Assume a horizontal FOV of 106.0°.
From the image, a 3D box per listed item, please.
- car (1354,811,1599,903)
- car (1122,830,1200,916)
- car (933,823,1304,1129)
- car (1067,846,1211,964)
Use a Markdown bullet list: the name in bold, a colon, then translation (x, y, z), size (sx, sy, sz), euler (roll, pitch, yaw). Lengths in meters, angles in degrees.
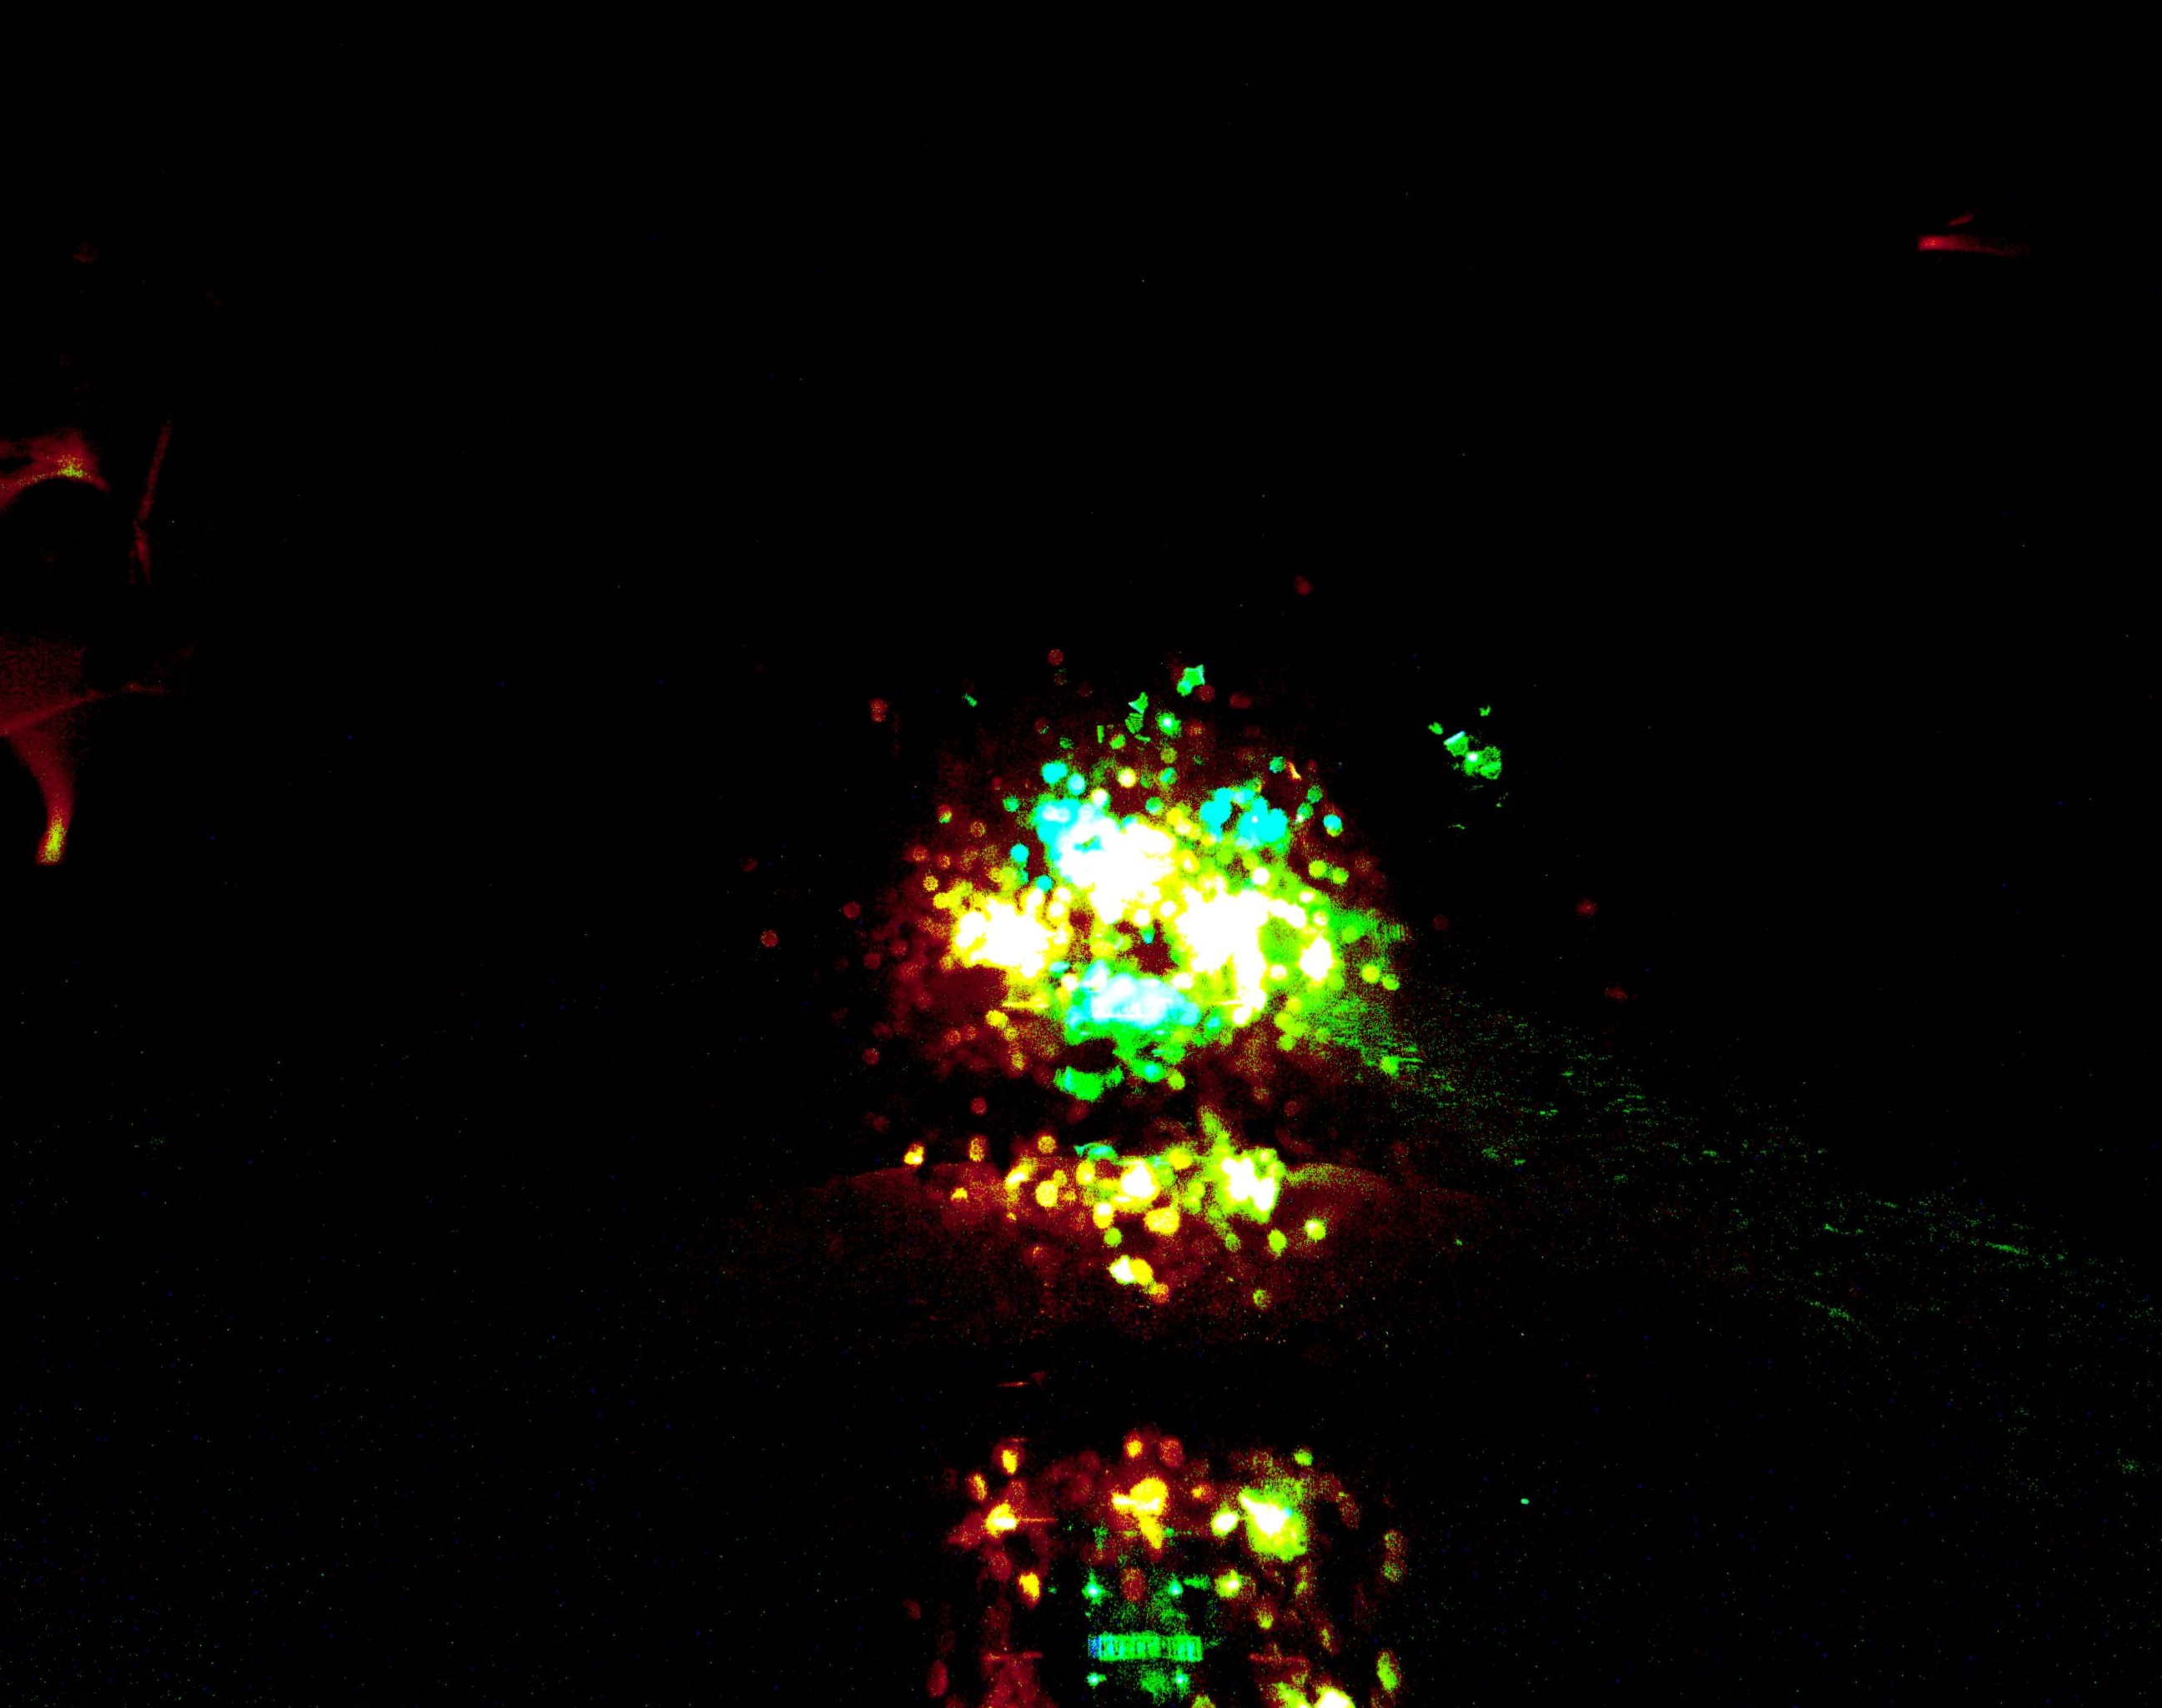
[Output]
- **car**: translation (8.455, 0.073, 17.865), size (4.437, 1.586, 1.946), euler (-4, 0, 13)
- **car**: translation (2.182, 0.395, 21.250), size (1.761, 1.947, 4.265), euler (2, 2, 8)
- **car**: translation (0.273, 0.695, 6.658), size (2.050, 1.678, 4.141), euler (-1, 0, 2)
- **car**: translation (0.896, 0.697, 13.467), size (1.902, 1.510, 4.243), euler (-4, 0, 2)
